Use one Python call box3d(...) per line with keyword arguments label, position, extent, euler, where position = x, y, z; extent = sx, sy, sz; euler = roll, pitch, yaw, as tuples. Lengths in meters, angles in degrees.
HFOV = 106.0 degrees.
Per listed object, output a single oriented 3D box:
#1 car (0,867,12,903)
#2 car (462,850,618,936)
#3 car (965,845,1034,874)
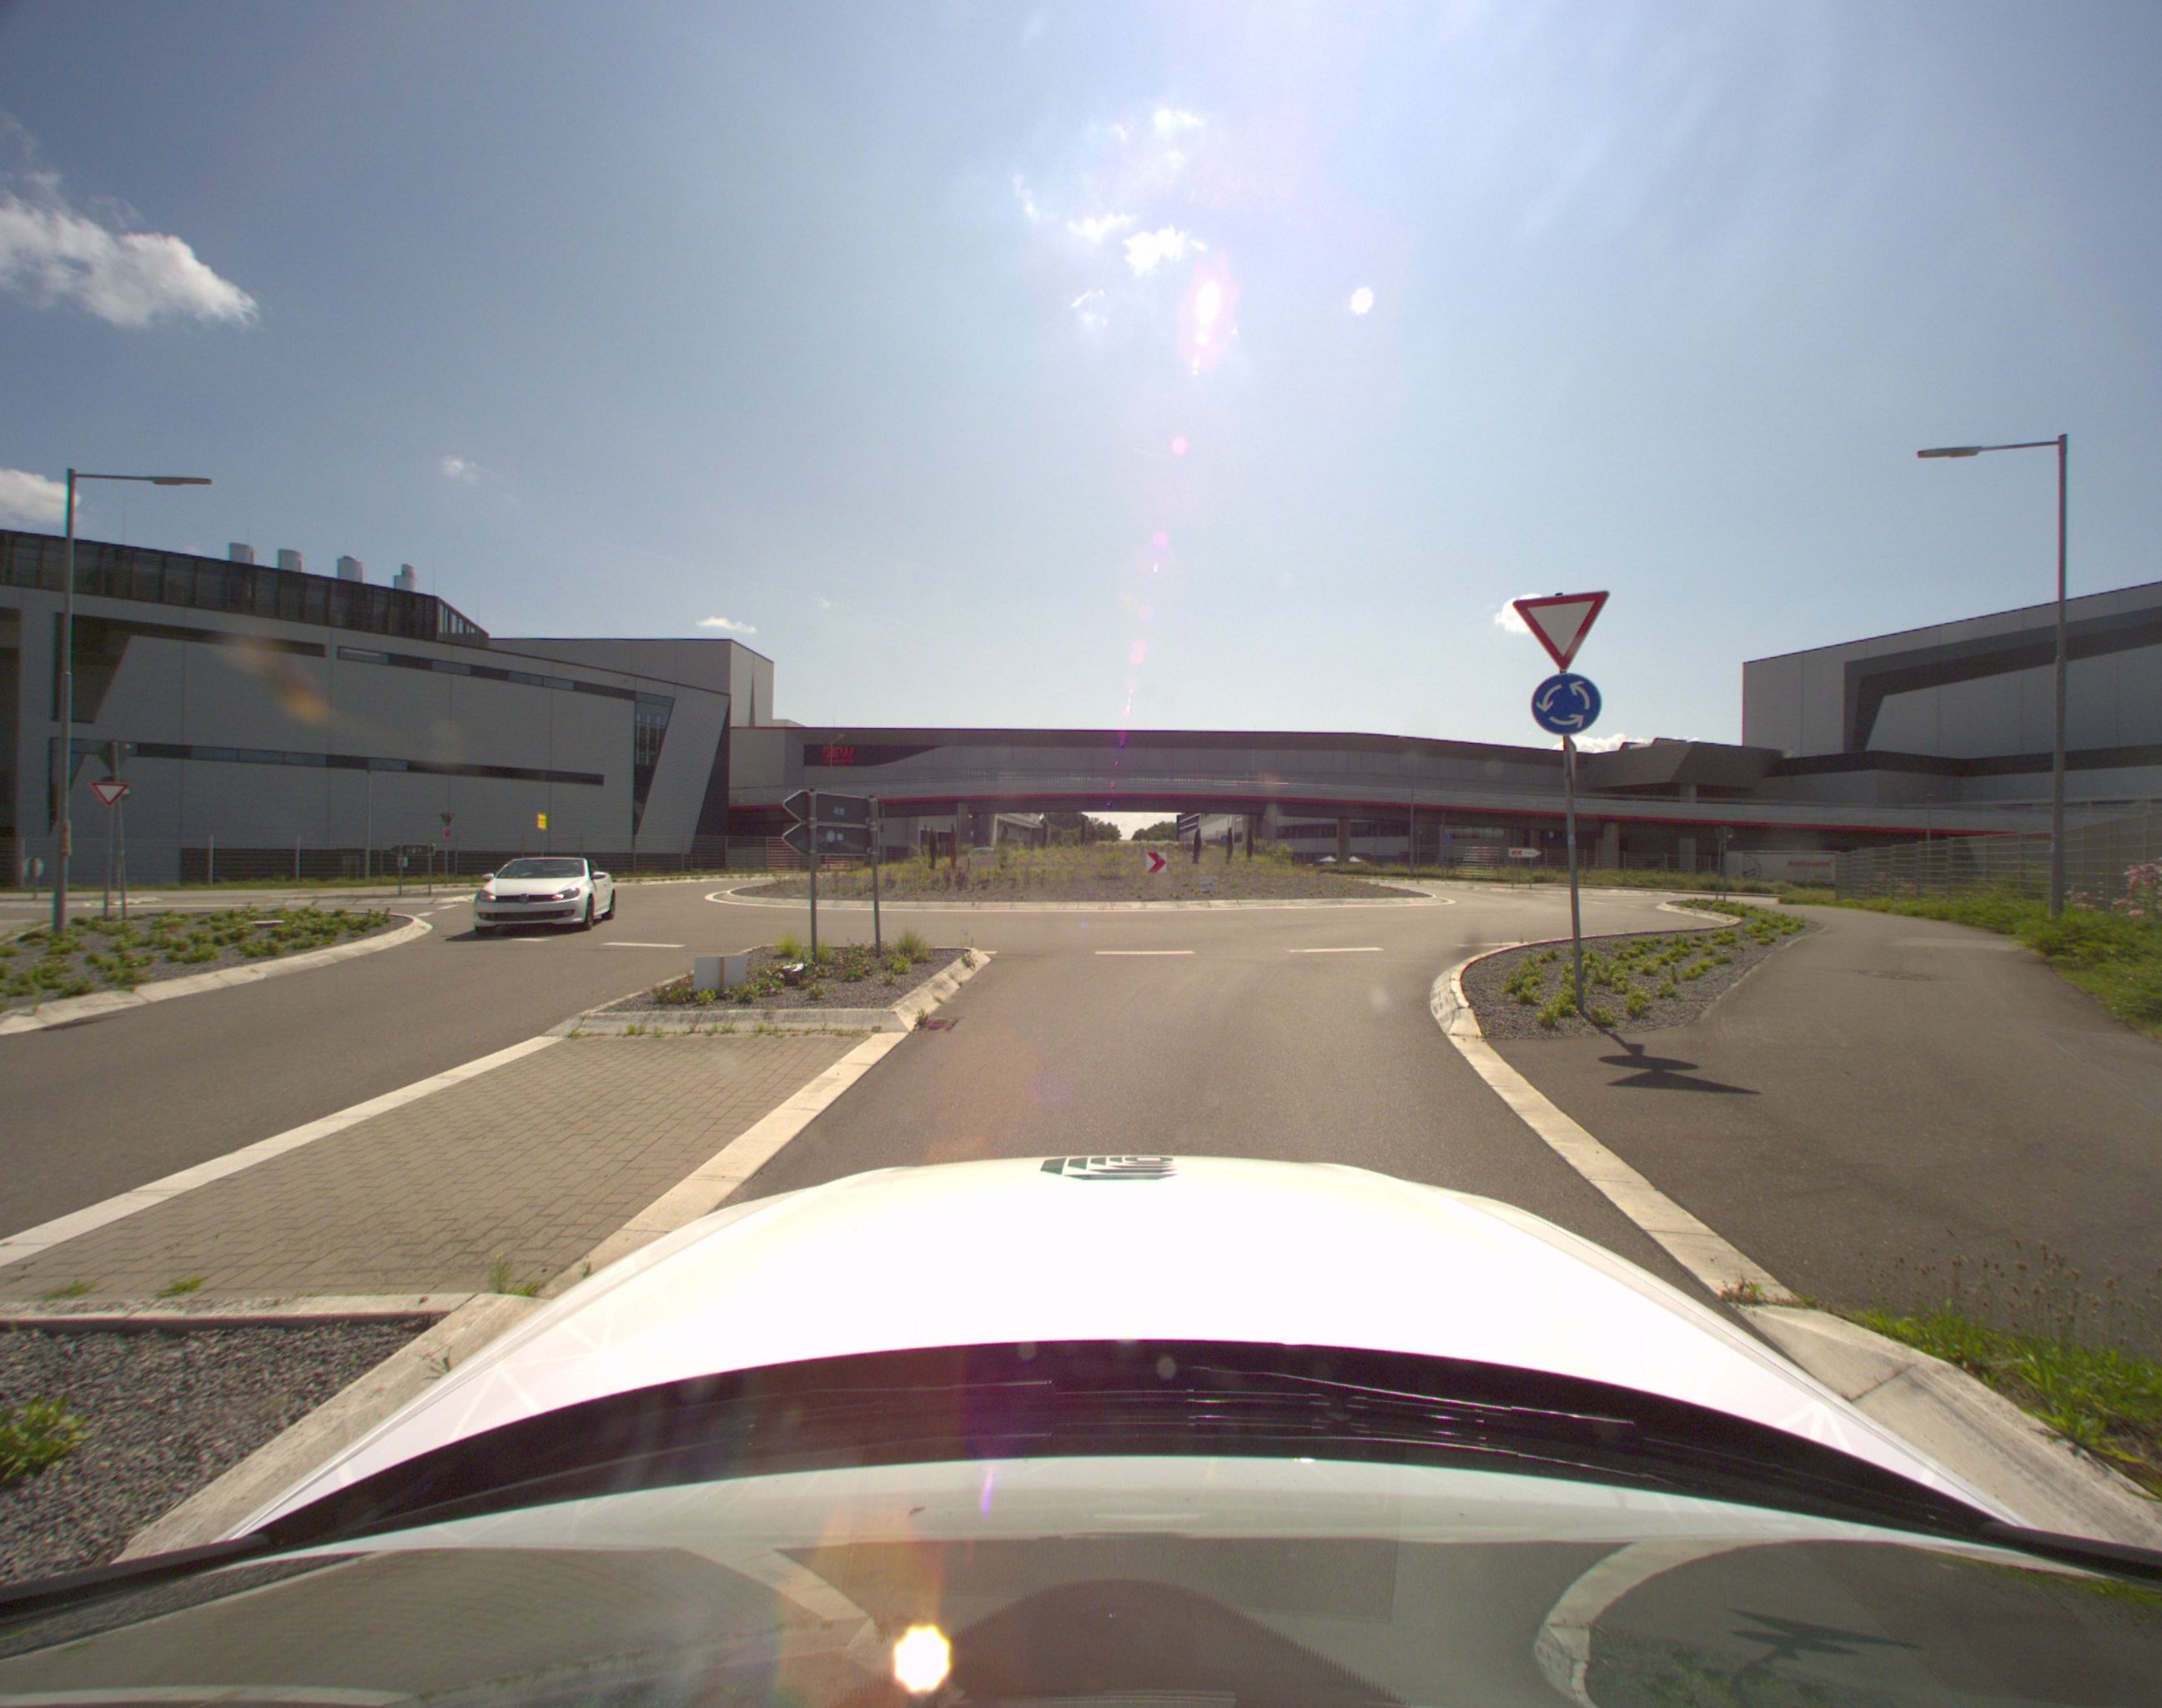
box3d(label="car", position=(-52.594, 1.516, 37.614), extent=(2.002, 1.690, 4.281), euler=(1, 0, -23))
box3d(label="car", position=(-10.344, 0.671, 15.902), extent=(1.777, 1.428, 4.021), euler=(0, 0, -22))
box3d(label="car", position=(-5.173, 0.313, 52.213), extent=(1.974, 1.779, 4.589), euler=(0, 0, 33))
